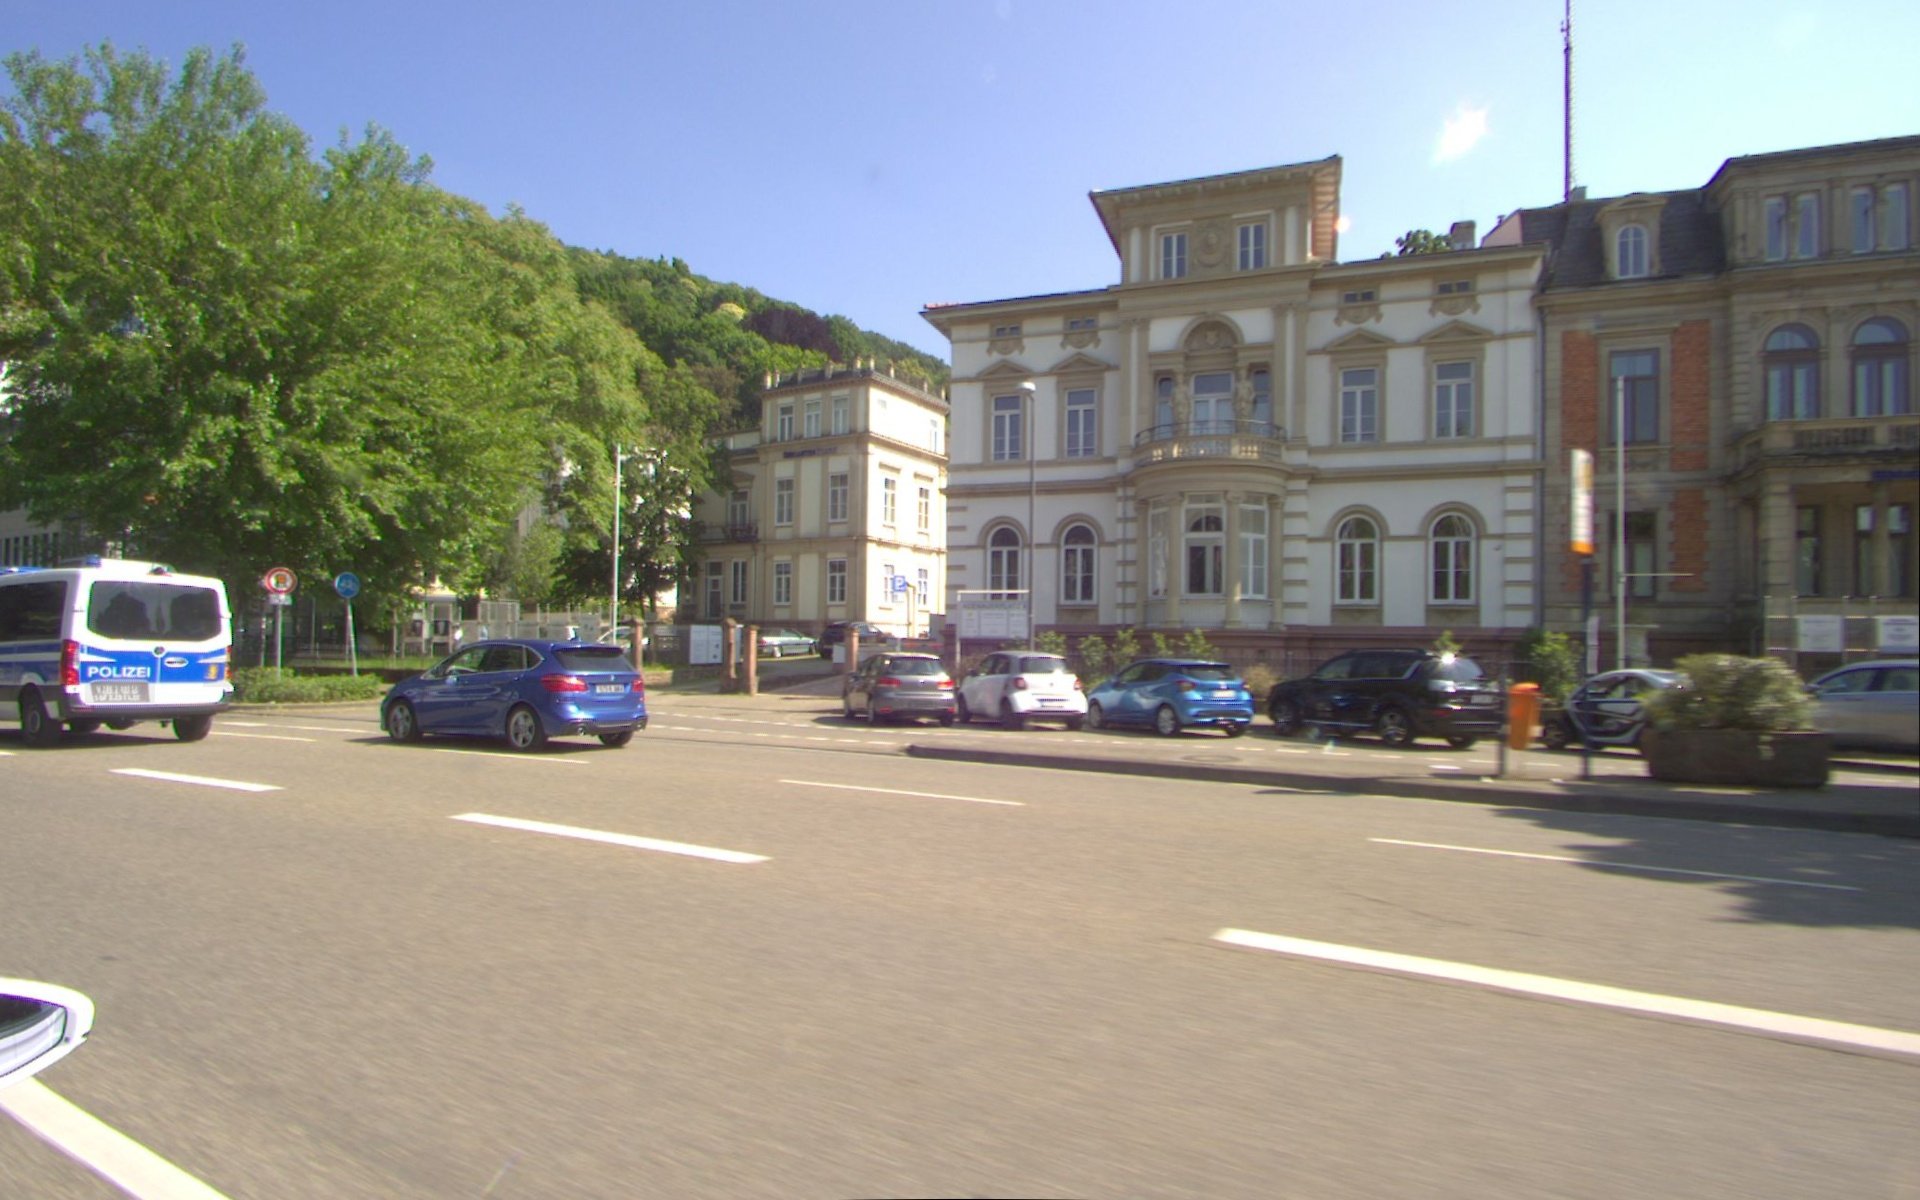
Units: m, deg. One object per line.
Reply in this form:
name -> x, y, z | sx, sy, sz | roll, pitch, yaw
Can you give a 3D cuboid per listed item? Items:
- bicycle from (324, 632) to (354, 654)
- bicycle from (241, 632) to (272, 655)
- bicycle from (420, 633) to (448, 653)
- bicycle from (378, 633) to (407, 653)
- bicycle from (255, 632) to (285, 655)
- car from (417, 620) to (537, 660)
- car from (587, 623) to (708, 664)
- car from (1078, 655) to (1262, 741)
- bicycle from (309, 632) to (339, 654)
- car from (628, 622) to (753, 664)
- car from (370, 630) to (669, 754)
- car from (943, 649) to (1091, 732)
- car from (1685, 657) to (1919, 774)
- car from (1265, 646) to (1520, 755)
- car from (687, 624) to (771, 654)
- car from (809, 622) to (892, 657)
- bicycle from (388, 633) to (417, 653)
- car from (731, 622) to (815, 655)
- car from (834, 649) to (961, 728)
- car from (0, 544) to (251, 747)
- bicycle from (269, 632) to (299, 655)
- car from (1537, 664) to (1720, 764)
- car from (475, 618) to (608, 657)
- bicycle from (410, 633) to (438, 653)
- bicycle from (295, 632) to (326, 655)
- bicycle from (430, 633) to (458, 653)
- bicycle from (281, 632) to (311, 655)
bicycle -> -32.052, 2.231, 51.708 | 1.808, 1.099, 0.536 | 0, -1, 31
bicycle -> -34.166, 2.117, 48.632 | 1.808, 1.099, 0.536 | 0, -1, 31
bicycle -> -29.745, 2.415, 56.649 | 1.808, 1.099, 0.536 | 0, -1, 31
bicycle -> -30.915, 2.336, 54.527 | 1.808, 1.099, 0.536 | 0, -1, 31
bicycle -> -33.883, 2.136, 49.159 | 1.808, 1.099, 0.536 | 0, -1, 31
car -> -19.290, 1.590, 40.168 | 1.847, 1.494, 4.146 | 0, -2, 24
car -> -11.070, 1.540, 35.761 | 1.831, 1.353, 4.041 | 0, -2, 26
car -> 4.027, 1.859, 19.788 | 1.686, 1.460, 3.800 | 2, -3, -23
bicycle -> -32.548, 2.213, 51.222 | 1.808, 1.099, 0.536 | 0, -1, 31
car -> -9.190, 1.459, 34.424 | 1.960, 1.353, 4.041 | 0, -2, 26
car -> -6.509, 1.277, 14.741 | 4.204, 1.560, 1.720 | 0, -3, 27
car -> 1.088, 1.829, 20.968 | 1.685, 1.530, 3.803 | 2, -3, -20
car -> 14.287, 1.772, 15.892 | 1.685, 1.650, 4.306 | 2, -3, -21
car -> 7.655, 1.711, 18.179 | 1.686, 1.717, 4.262 | 2, -3, -23
car -> -11.040, 1.880, 48.144 | 1.792, 1.353, 4.076 | 0, -2, 26
car -> -4.938, 1.798, 45.686 | 1.836, 1.528, 4.050 | 0, -2, 26
bicycle -> -30.671, 2.356, 55.079 | 1.808, 1.099, 0.536 | 0, -1, 31
car -> -8.641, 1.786, 46.570 | 1.792, 1.437, 4.050 | 0, -2, 26
car -> -1.447, 1.815, 21.368 | 1.796, 1.479, 4.102 | 2, -3, -17
car -> -12.829, 0.655, 14.636 | 4.854, 2.540, 2.073 | -1, -3, 29
bicycle -> -33.572, 2.158, 49.727 | 1.808, 1.099, 0.536 | 0, -1, 31
car -> 11.153, 1.850, 16.803 | 1.183, 1.501, 2.280 | 2, -3, -27
car -> -15.488, 1.393, 37.312 | 1.792, 1.353, 4.467 | 0, -2, 26
bicycle -> -30.036, 2.396, 56.143 | 1.808, 1.099, 0.536 | 0, -1, 31
bicycle -> -32.866, 2.192, 50.659 | 1.808, 1.099, 0.536 | 0, -1, 31
bicycle -> -29.446, 2.433, 57.135 | 1.808, 1.099, 0.536 | 0, -1, 31
bicycle -> -33.321, 2.177, 50.252 | 1.808, 1.099, 0.536 | 0, -1, 31
